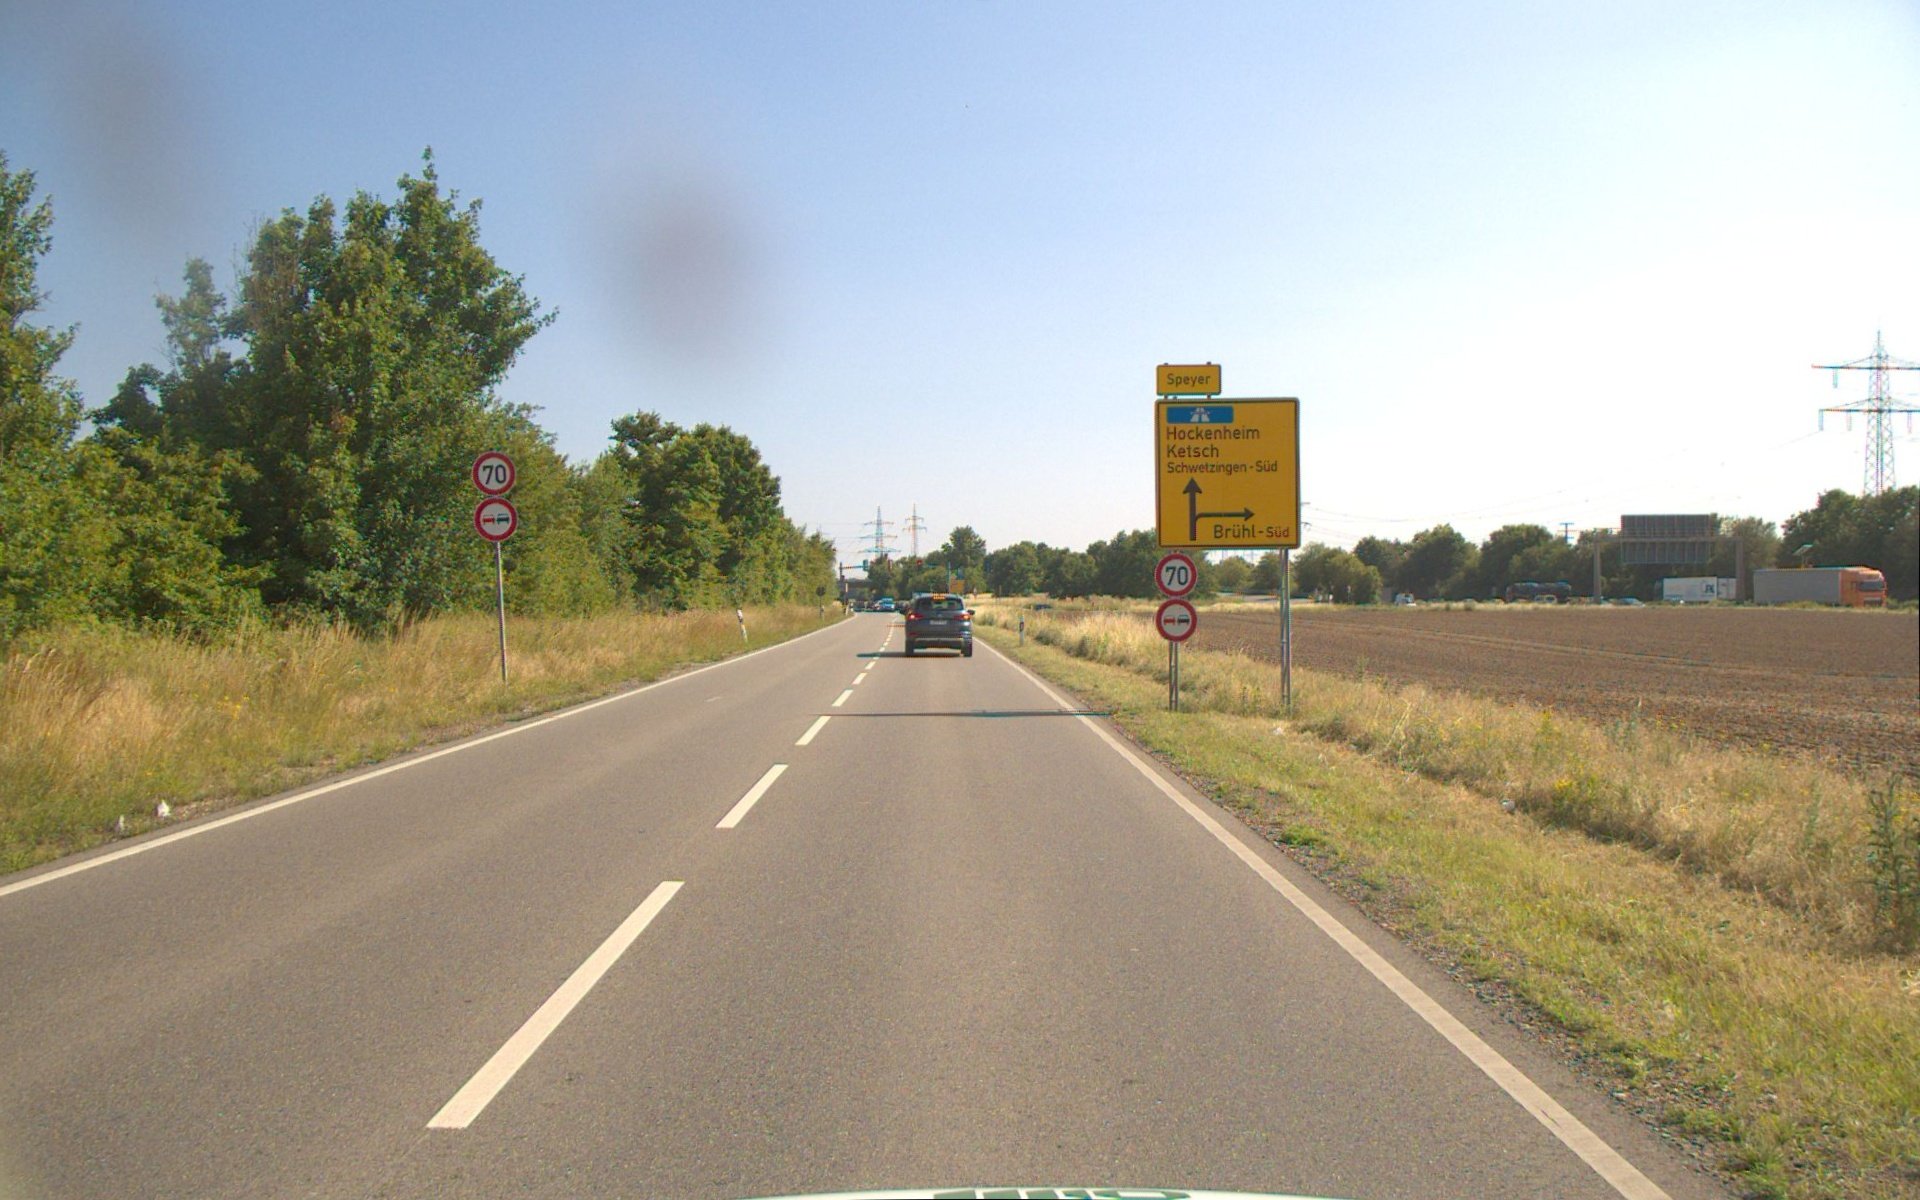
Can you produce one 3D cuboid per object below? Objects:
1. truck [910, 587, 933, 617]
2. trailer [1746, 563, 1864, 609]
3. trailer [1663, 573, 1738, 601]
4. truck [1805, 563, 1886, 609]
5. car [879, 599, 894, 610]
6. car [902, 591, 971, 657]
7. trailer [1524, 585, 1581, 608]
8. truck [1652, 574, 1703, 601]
[{"bbox_3d":[-3.974,0.232,170.910,2.290,3.120,5.808,0,-1,-1],"label":"truck"},{"bbox_3d":[76.490,-1.217,150.179,3.041,3.916,13.709,0,0,-3],"label":"trailer"},{"bbox_3d":[92.566,-1.571,207.061,3.219,3.324,12.448,-1,0,-3],"label":"trailer"},{"bbox_3d":[76.868,-1.197,143.740,3.041,3.916,6.946,0,0,-3],"label":"truck"},{"bbox_3d":[-10.043,0.597,225.350,1.781,1.567,3.995,0,0,-6],"label":"car"},{"bbox_3d":[-0.671,0.603,44.017,1.750,1.657,3.998,0,0,-2],"label":"car"},{"bbox_3d":[89.508,-0.538,250.244,3.219,3.324,13.445,0,0,-3],"label":"trailer"},{"bbox_3d":[92.219,-1.545,212.776,3.219,3.324,6.974,-1,0,-3],"label":"truck"}]
